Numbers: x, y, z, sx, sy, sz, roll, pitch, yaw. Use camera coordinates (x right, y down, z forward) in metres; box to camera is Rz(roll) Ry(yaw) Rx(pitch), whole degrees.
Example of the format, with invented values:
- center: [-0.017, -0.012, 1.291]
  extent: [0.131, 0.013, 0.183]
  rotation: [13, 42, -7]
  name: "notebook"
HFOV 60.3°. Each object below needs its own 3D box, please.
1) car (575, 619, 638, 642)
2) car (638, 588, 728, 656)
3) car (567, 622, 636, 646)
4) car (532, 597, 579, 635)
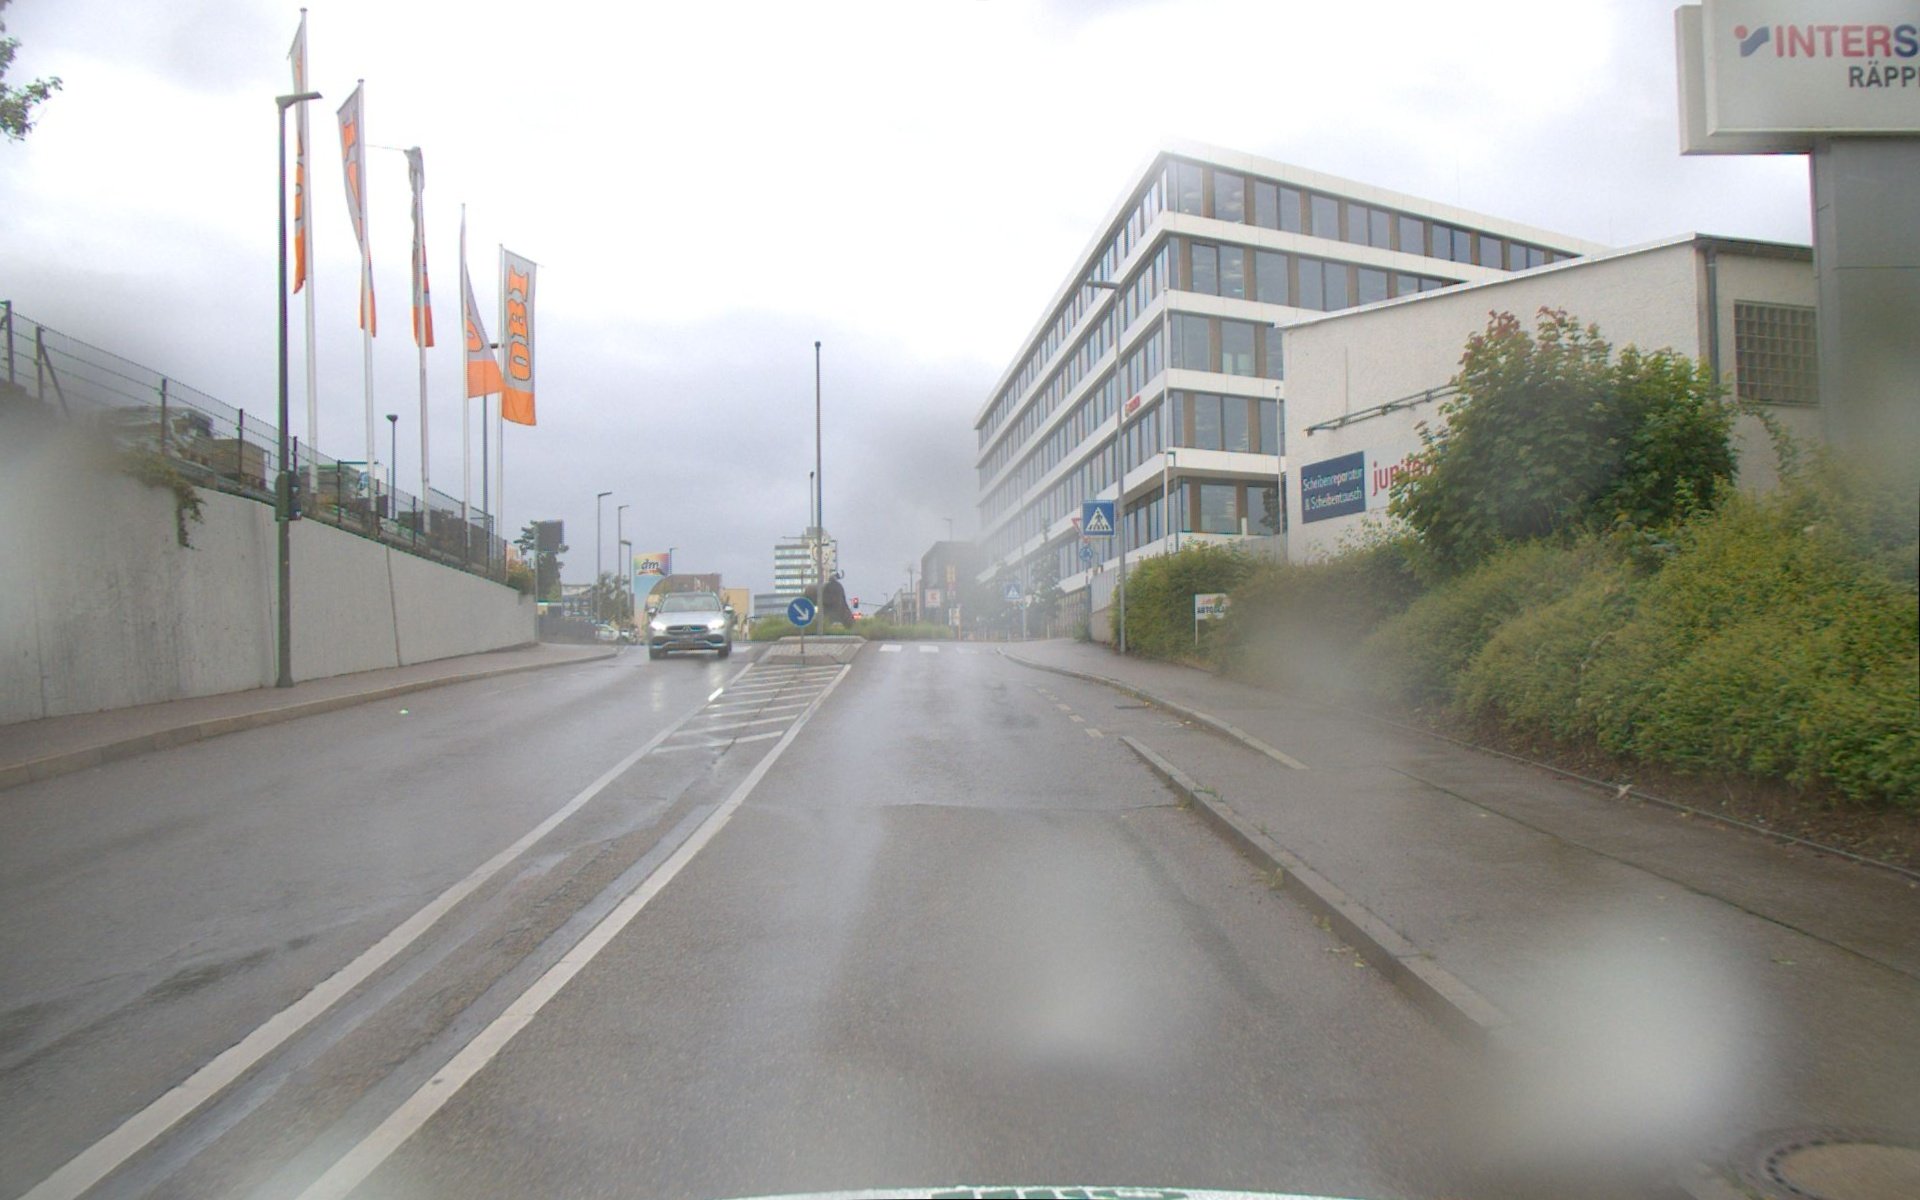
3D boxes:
- center: [-23.003, 2.009, 107.589]
  extent: [3.955, 1.445, 1.761]
  rotation: [0, -3, -16]
  name: "car"
- center: [-6.538, 0.464, 39.153]
  extent: [1.964, 1.451, 4.771]
  rotation: [-1, 1, -9]
  name: "car"
- center: [-22.683, 2.169, 104.689]
  extent: [3.974, 1.445, 1.752]
  rotation: [1, -3, -28]
  name: "car"
- center: [-23.140, 0.895, 94.744]
  extent: [1.955, 2.049, 4.994]
  rotation: [0, 0, -6]
  name: "car"
